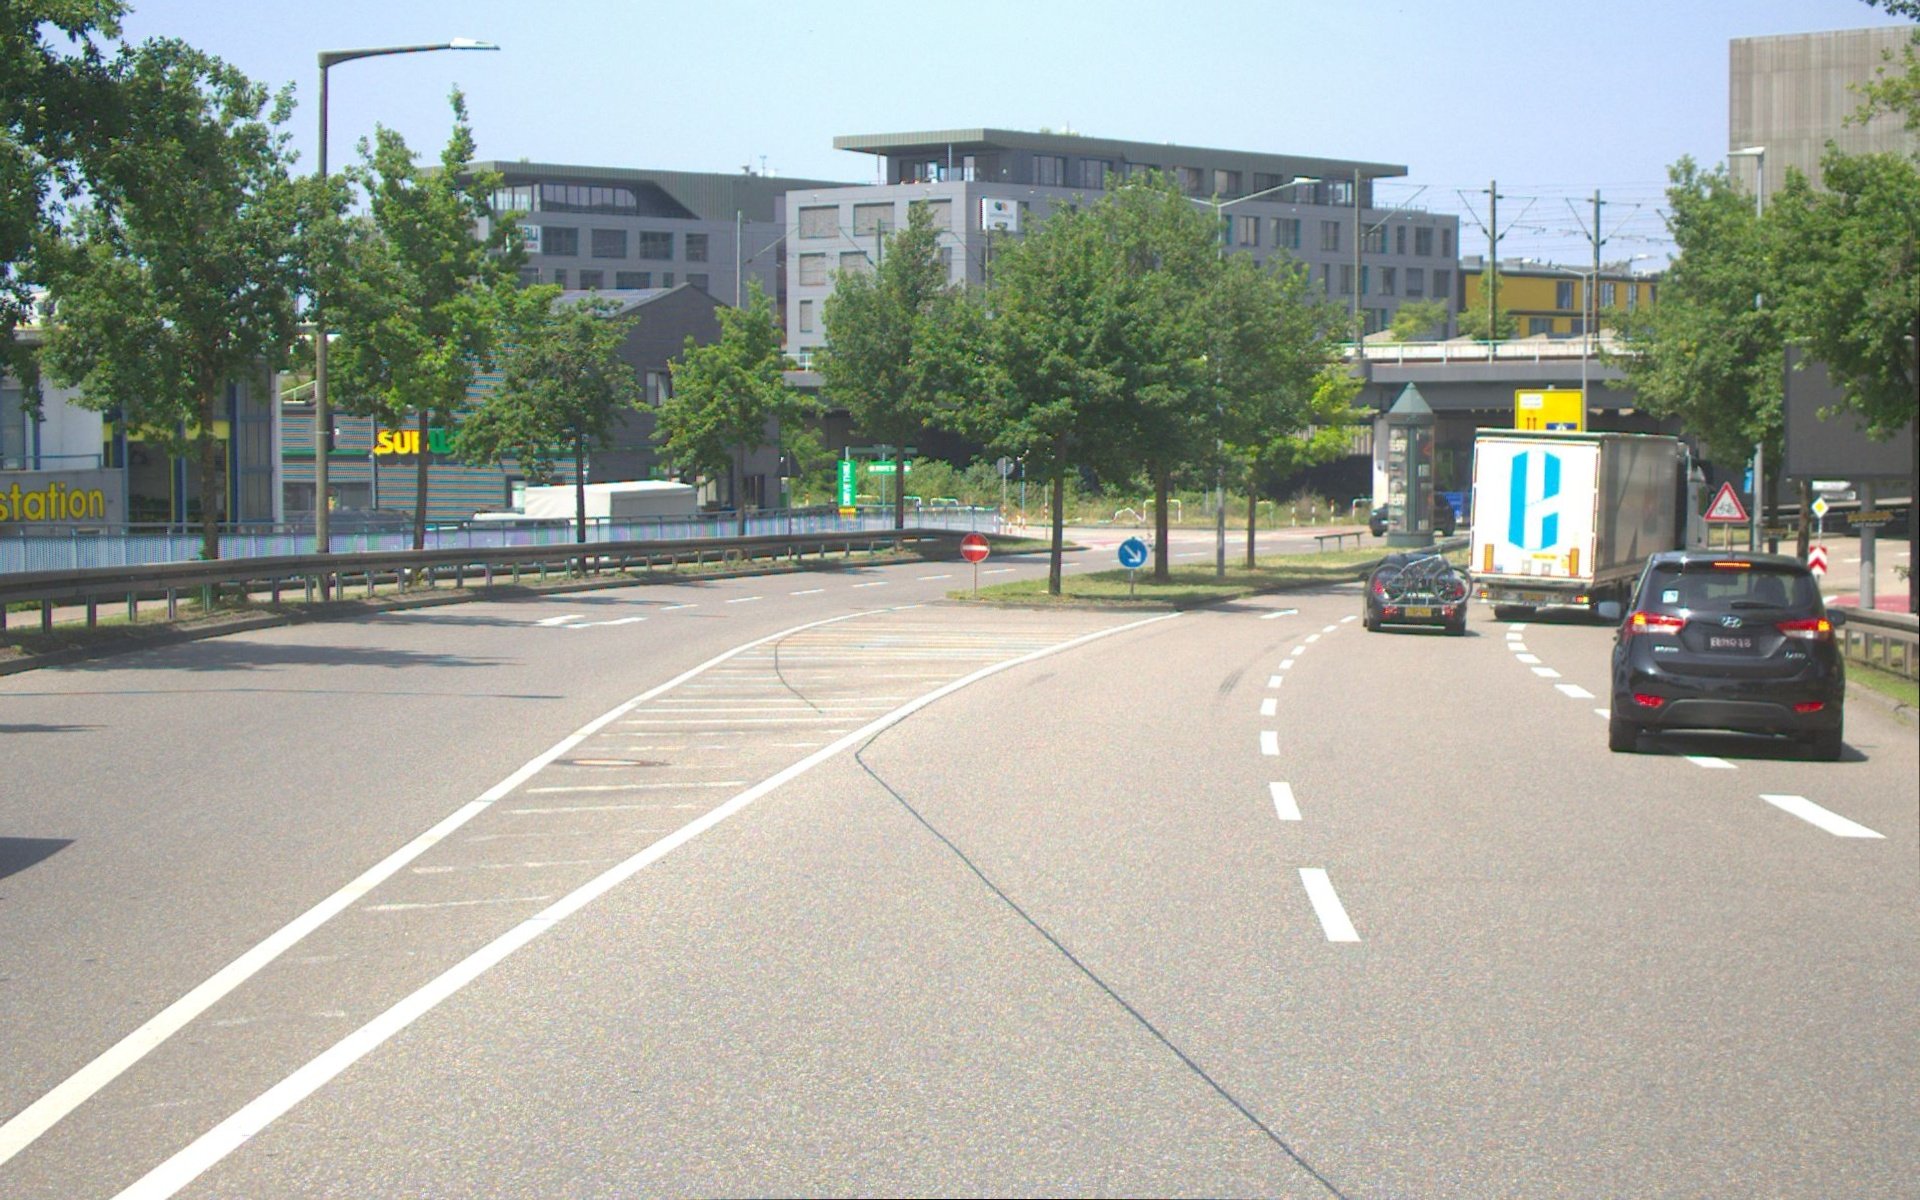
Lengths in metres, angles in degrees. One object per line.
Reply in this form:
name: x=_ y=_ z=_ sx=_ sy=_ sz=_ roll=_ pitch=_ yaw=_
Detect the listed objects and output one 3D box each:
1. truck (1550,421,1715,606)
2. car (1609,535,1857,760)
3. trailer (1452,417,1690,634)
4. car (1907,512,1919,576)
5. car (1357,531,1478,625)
truck: x=16.504 y=-2.186 z=84.116 sx=3.079 sy=4.353 sz=6.073 roll=1 pitch=3 yaw=19
car: x=6.209 y=0.311 z=27.715 sx=1.768 sy=1.593 sz=4.075 roll=2 pitch=2 yaw=12
trailer: x=13.839 y=-1.835 z=76.579 sx=3.081 sy=4.353 sz=14.762 roll=1 pitch=3 yaw=18
car: x=32.102 y=-1.755 z=108.924 sx=3.990 sy=2.007 sz=1.999 roll=1 pitch=1 yaw=16
car: x=8.309 y=-0.430 z=62.198 sx=1.957 sy=1.628 sz=4.278 roll=0 pitch=1 yaw=10
